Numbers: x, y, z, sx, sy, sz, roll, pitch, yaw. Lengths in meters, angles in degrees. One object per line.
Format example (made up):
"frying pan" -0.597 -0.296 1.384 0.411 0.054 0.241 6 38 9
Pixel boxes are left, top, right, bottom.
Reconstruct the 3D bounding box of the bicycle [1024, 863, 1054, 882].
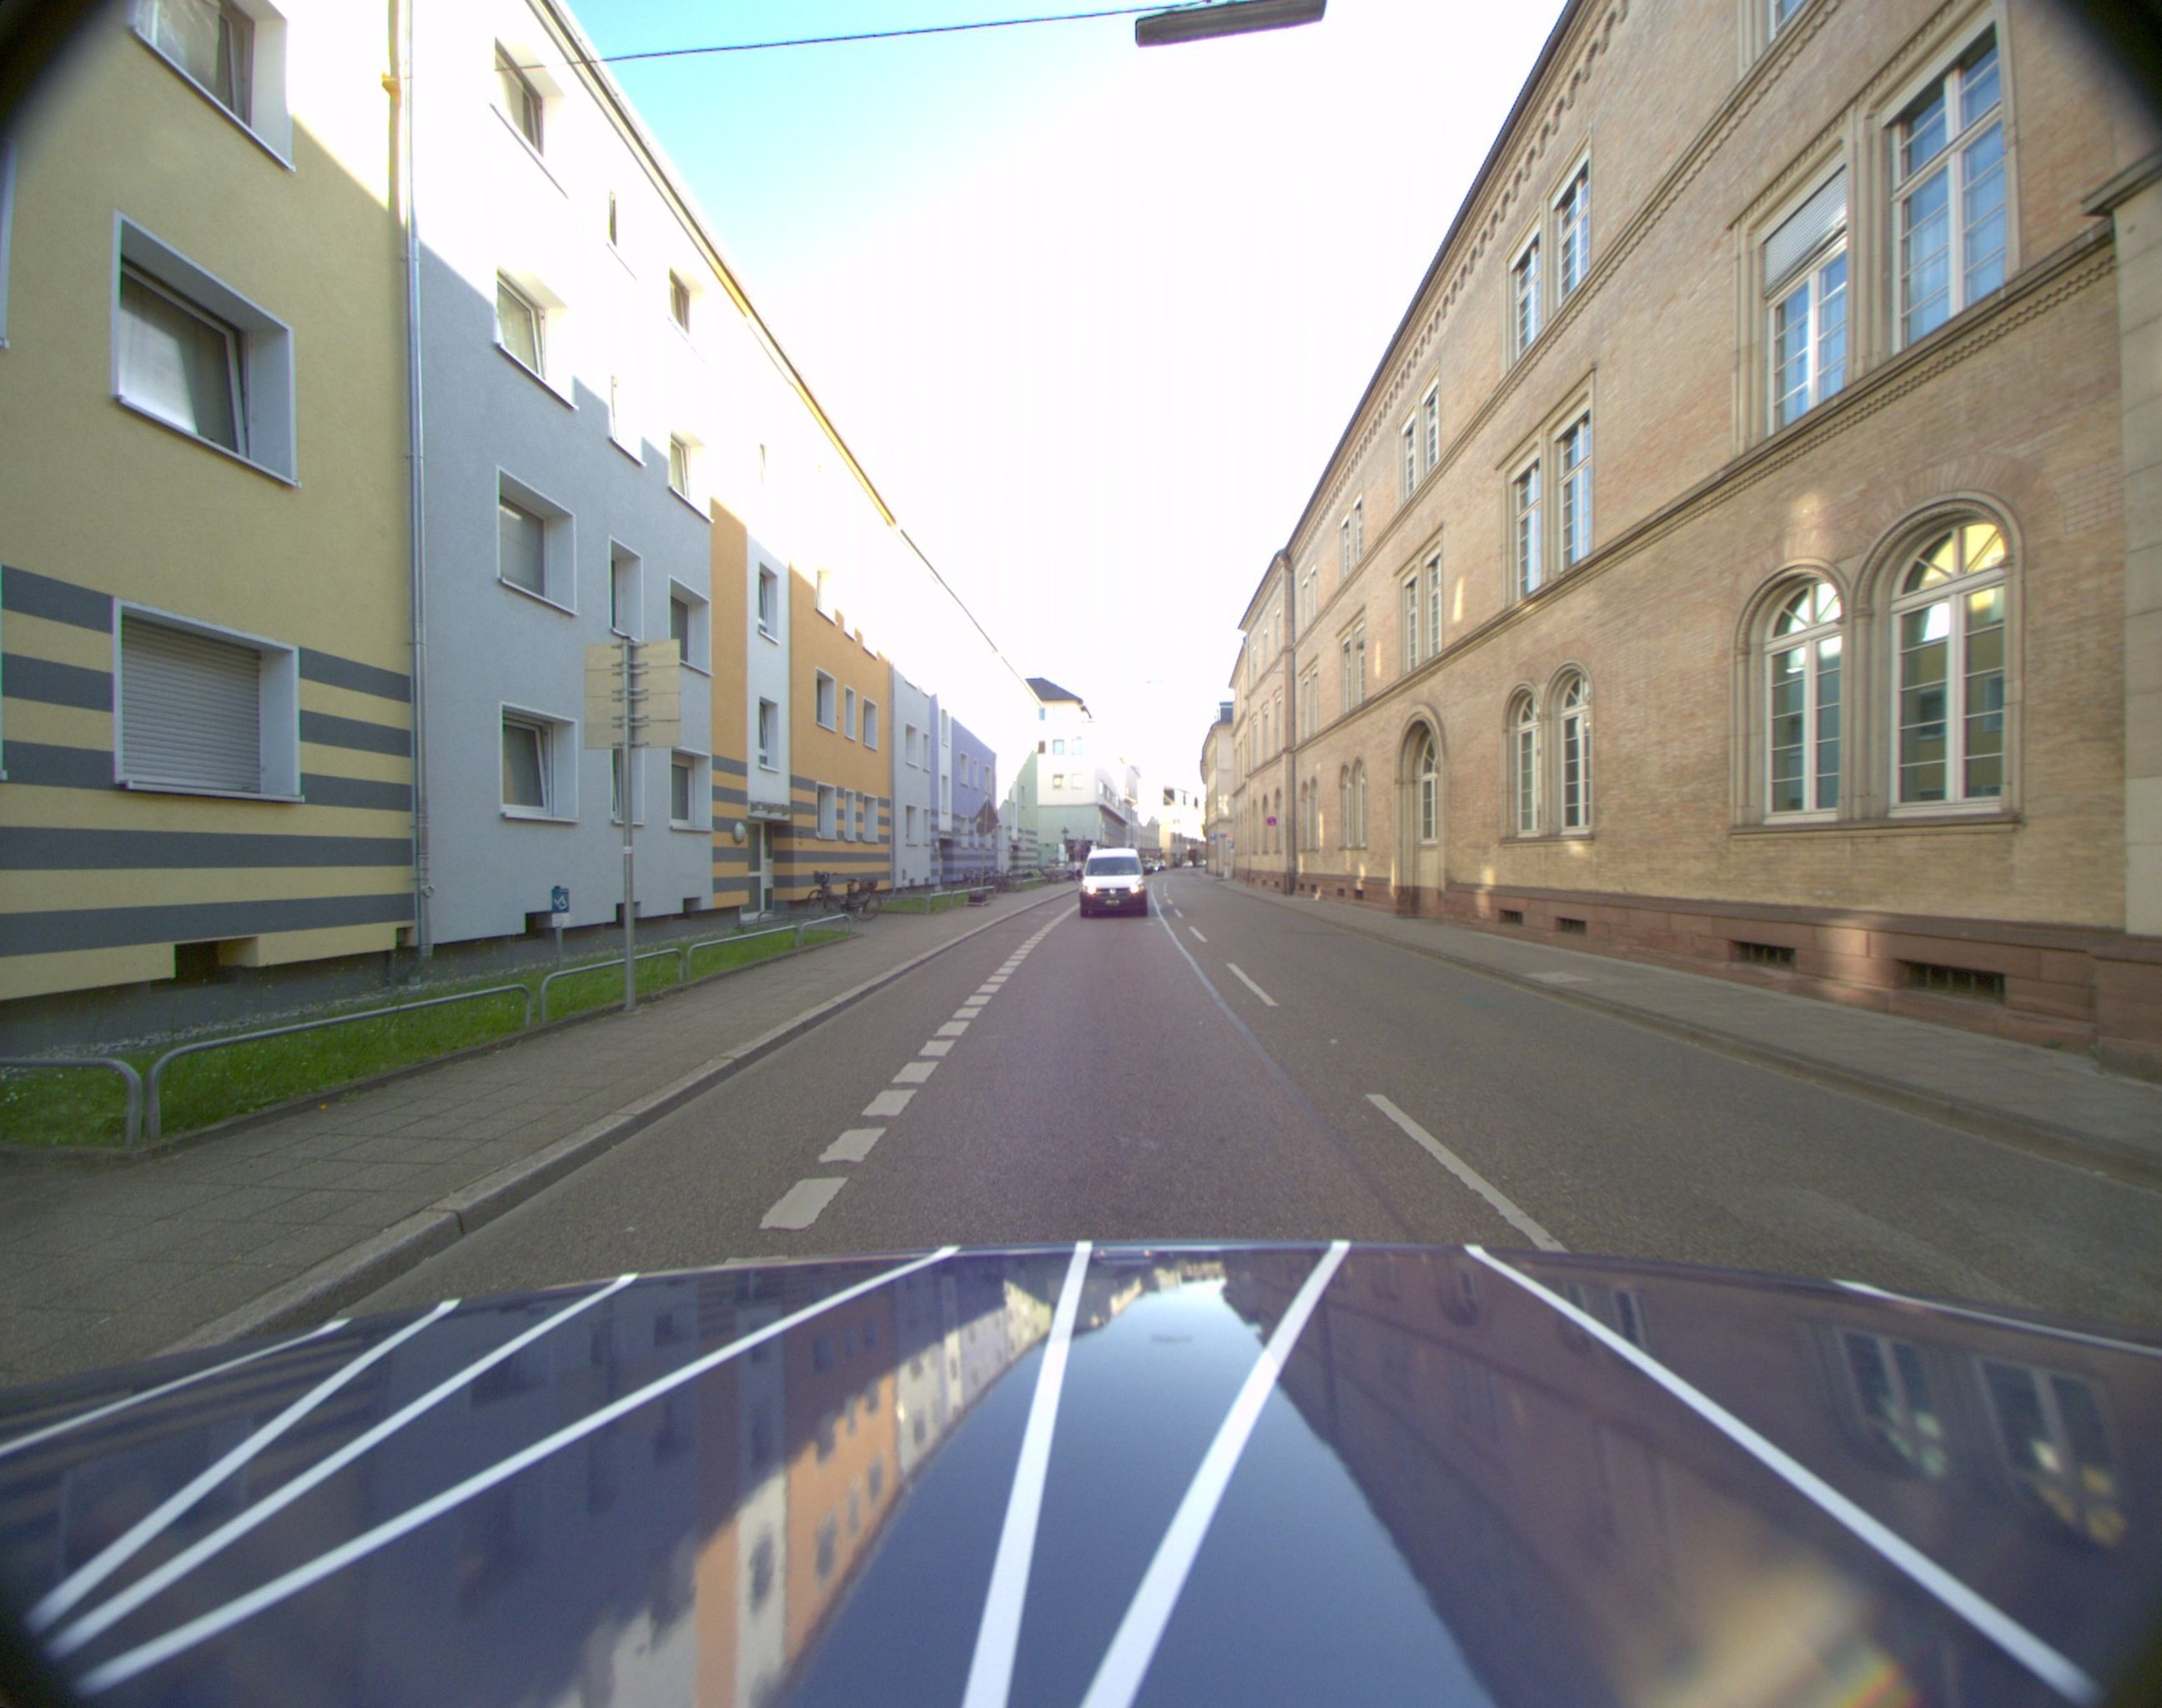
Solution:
"bicycle" -2.517 1.122 46.040 1.779 1.145 0.484 0 0 0

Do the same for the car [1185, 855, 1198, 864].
"car" 22.107 1.011 152.010 1.996 1.643 4.233 -2 1 17

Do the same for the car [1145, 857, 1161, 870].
"car" 10.675 1.377 112.990 1.997 1.643 4.231 -2 1 10

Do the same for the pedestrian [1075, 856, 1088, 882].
"pedestrian" 0.022 0.962 49.030 0.705 1.627 0.833 2 2 5

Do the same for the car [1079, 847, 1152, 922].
"car" 0.954 0.721 21.121 1.769 1.761 5.332 -1 1 3

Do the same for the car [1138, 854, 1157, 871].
"car" 9.412 1.187 107.077 2.103 2.264 5.506 -2 1 11

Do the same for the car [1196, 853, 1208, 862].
"car" 26.090 0.722 163.741 1.996 1.643 4.233 -2 1 17

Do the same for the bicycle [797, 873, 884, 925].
"bicycle" -5.386 0.995 17.093 1.780 1.116 0.484 0 0 -5

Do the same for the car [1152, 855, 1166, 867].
"car" 12.645 1.130 122.688 1.997 1.643 4.231 -2 1 9

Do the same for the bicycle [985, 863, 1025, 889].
"bicycle" -3.374 0.977 33.669 1.676 1.145 0.484 0 0 4

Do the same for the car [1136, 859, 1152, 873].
"car" 8.377 1.548 100.942 1.998 1.643 4.230 -2 1 6

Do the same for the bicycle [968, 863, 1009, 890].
"bicycle" -4.033 0.994 33.123 1.676 1.145 0.484 0 0 4

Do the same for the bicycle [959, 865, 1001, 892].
"bicycle" -4.237 1.022 31.830 1.676 1.145 0.484 0 0 4
